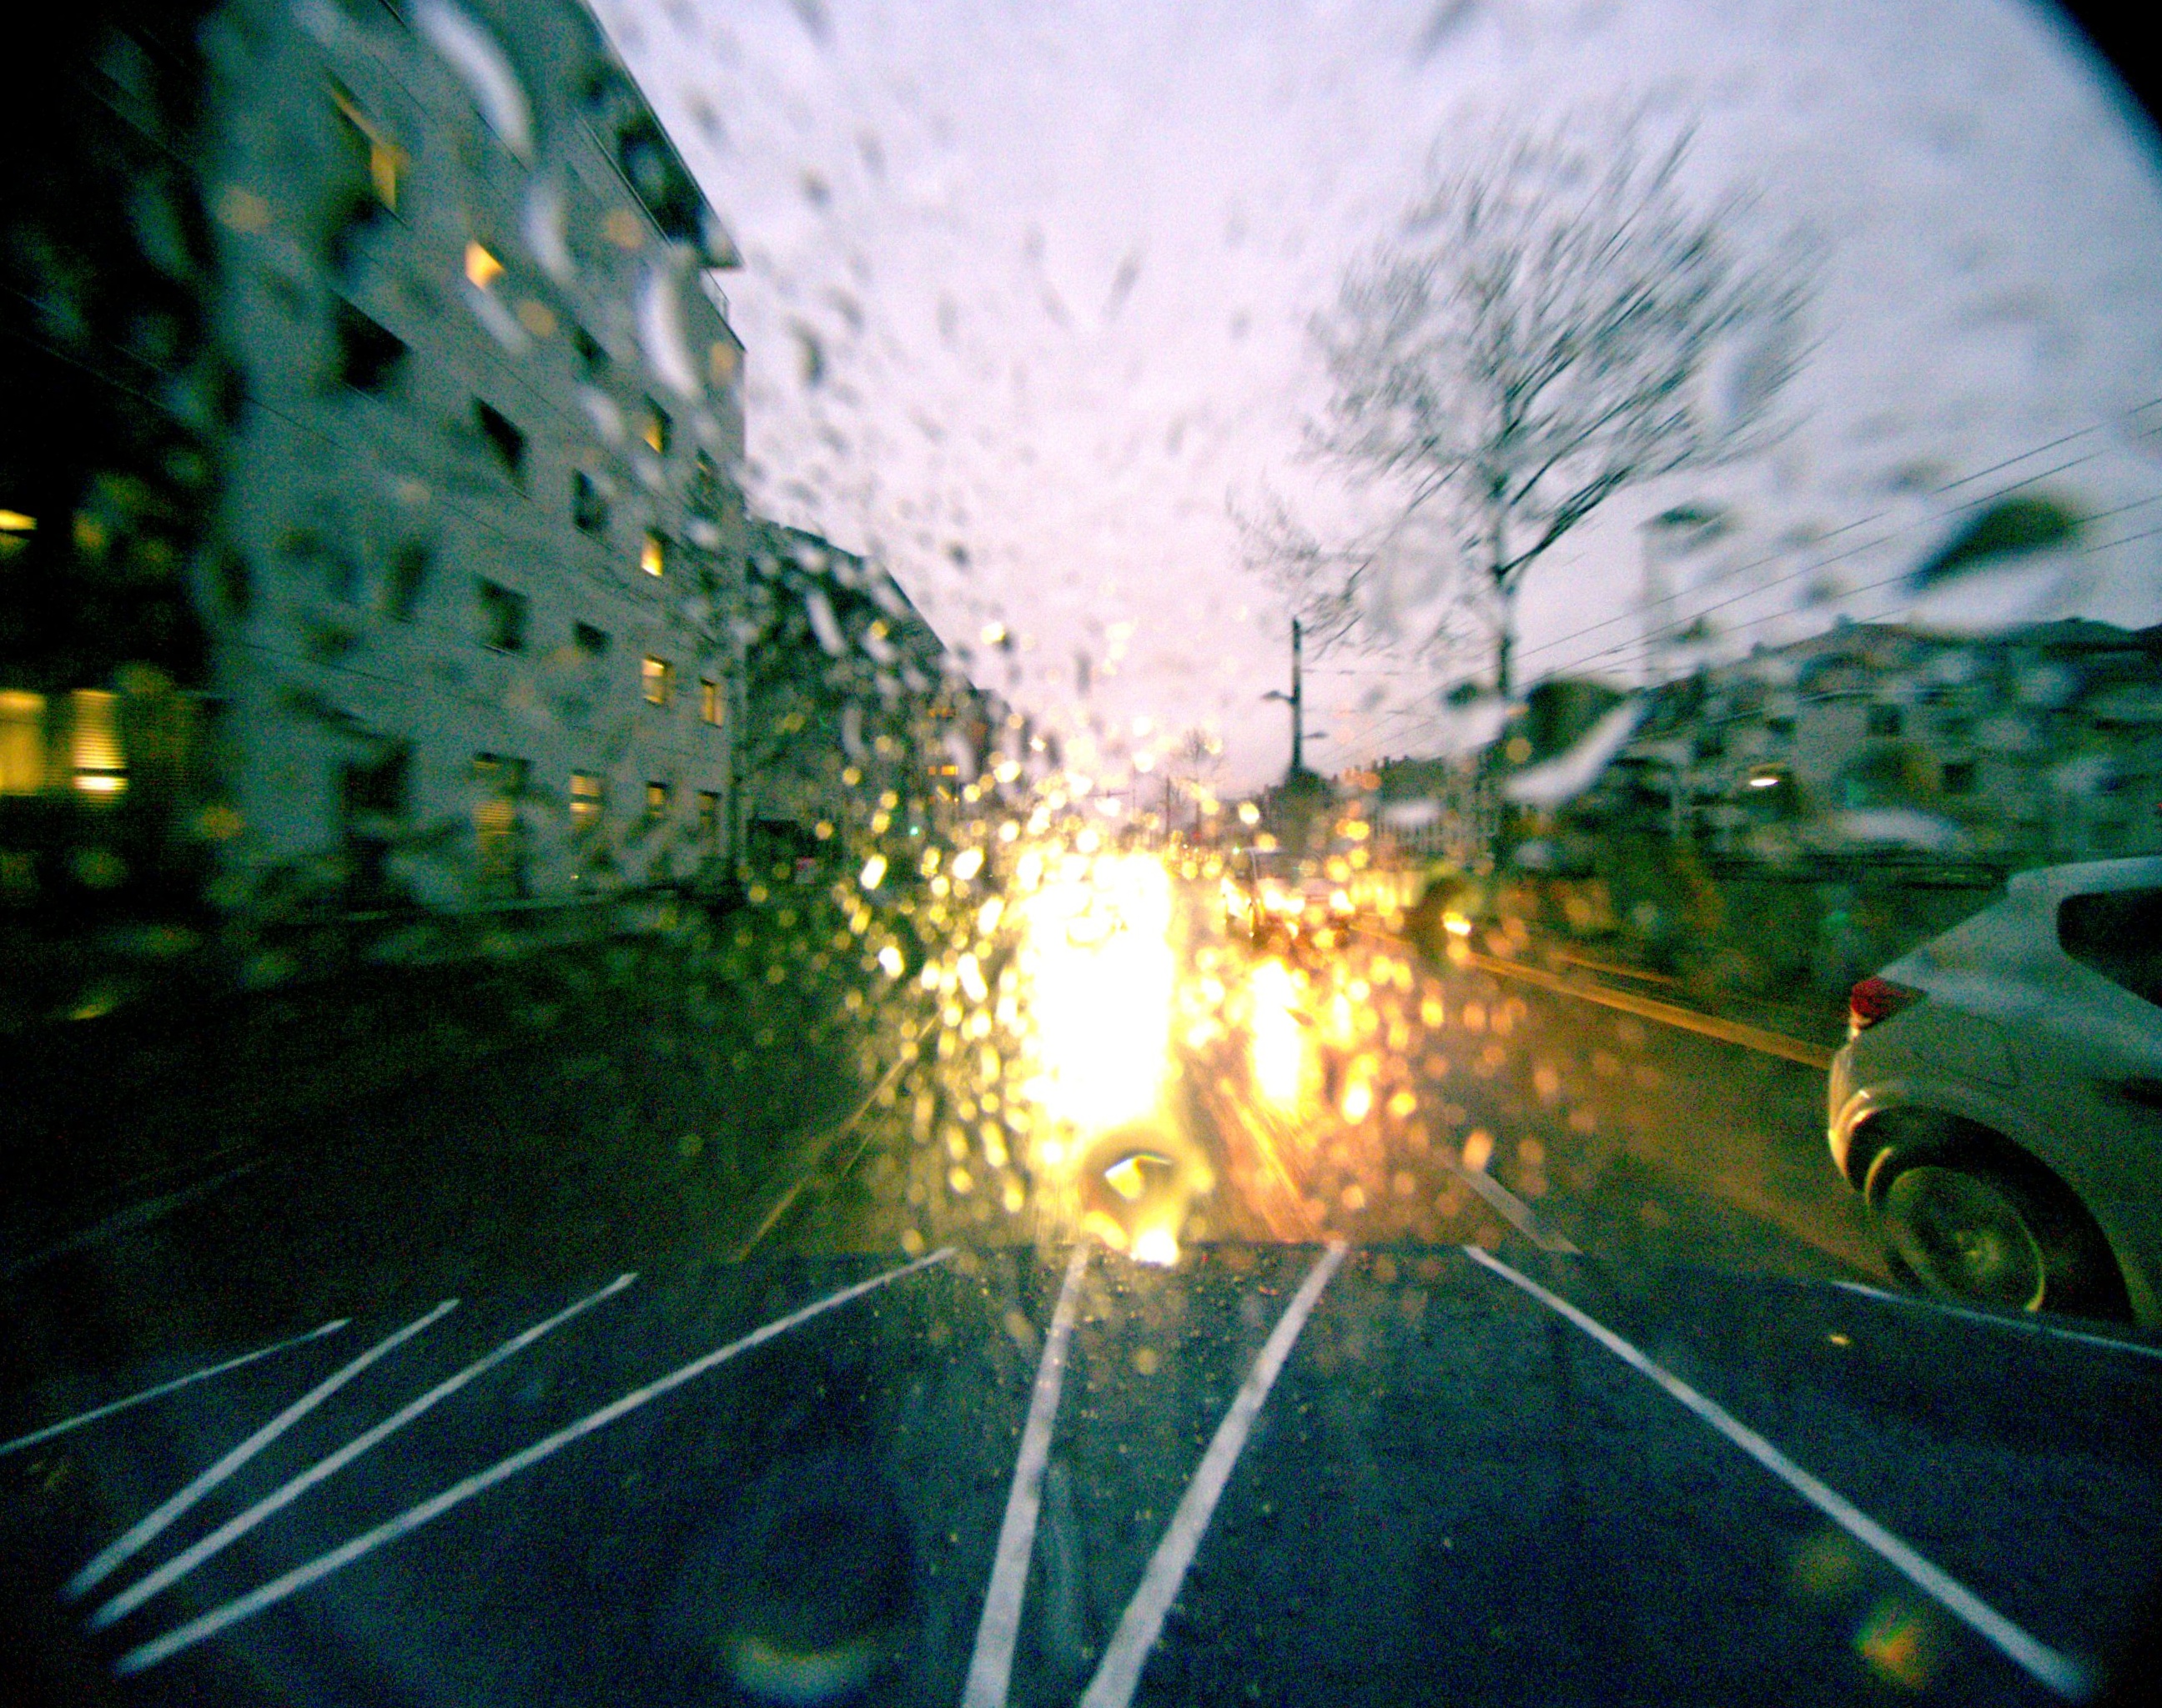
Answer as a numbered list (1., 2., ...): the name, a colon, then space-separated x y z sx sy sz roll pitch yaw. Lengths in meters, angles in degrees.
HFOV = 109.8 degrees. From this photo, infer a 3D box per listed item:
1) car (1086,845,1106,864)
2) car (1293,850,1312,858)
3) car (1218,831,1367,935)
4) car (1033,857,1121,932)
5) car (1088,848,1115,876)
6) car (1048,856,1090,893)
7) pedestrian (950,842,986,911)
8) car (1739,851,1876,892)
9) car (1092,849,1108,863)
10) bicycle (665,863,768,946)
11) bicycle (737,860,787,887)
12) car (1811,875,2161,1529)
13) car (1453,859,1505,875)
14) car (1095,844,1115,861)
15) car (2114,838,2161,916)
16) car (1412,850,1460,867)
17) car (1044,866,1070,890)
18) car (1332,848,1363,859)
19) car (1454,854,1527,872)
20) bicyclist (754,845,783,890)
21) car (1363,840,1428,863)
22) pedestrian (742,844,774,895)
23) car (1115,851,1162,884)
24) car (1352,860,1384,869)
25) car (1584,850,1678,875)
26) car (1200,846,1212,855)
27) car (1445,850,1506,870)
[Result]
1. car: 1.416 0.013 72.492 1.729 1.646 3.643 -2 1 1
2. car: 34.172 -0.025 117.091 2.626 1.100 1.255 -2 1 4
3. car: 3.837 0.444 14.513 2.020 1.667 4.001 -2 1 5
4. car: 0.001 0.834 17.388 1.757 1.418 3.804 -2 1 3
5. car: 1.419 0.476 51.669 1.729 1.730 4.054 -2 1 2
6. car: -0.518 0.910 35.904 1.764 1.520 3.734 -2 1 2
7. pedestrian: -3.054 0.600 20.547 0.773 1.798 0.699 3 2 -2
8. car: 28.030 0.627 29.489 1.519 1.360 3.999 -2 1 1
9. car: 2.662 0.248 105.147 1.998 1.784 3.810 -3 1 2
10. bicycle: -5.670 0.742 11.977 0.552 1.109 2.166 1 1 1
11. bicycle: -13.117 0.804 31.226 1.863 1.084 0.856 -1 -2 25
12. car: 3.315 0.846 0.613 1.712 1.457 4.000 -2 1 2
13. car: 29.521 0.926 56.400 3.305 1.125 1.316 0 0 35
14. car: 2.708 -0.137 85.198 1.998 1.774 3.697 -2 1 4
15. car: 23.320 0.498 14.707 1.526 1.630 3.749 -1 1 0
16. car: 30.728 0.415 65.704 3.599 1.376 1.316 -1 0 33
17. car: -1.908 1.893 61.349 1.609 1.666 3.686 -2 1 5
18. car: 32.180 -0.060 91.801 3.197 1.309 1.554 -1 1 32
19. car: 28.854 0.617 53.611 4.393 1.125 1.250 0 2 35
20. bicyclist: -12.819 0.565 31.156 0.730 1.811 0.842 -1 -2 24
21. car: 32.270 -0.240 78.002 5.893 2.242 1.825 -1 2 35
22. pedestrian: -11.126 0.518 26.173 0.739 1.726 0.703 -2 2 -1
23. car: 2.790 0.647 37.568 1.975 1.492 4.091 -2 0 1
24. car: 31.988 1.146 84.623 3.100 1.000 1.189 -1 0 35
25. car: 29.283 0.474 40.576 3.989 1.248 1.447 -1 2 35
26. car: 29.333 -0.831 178.870 1.999 2.002 3.999 -2 1 -1
27. car: 30.579 0.453 58.897 4.002 1.496 1.316 -1 2 37
